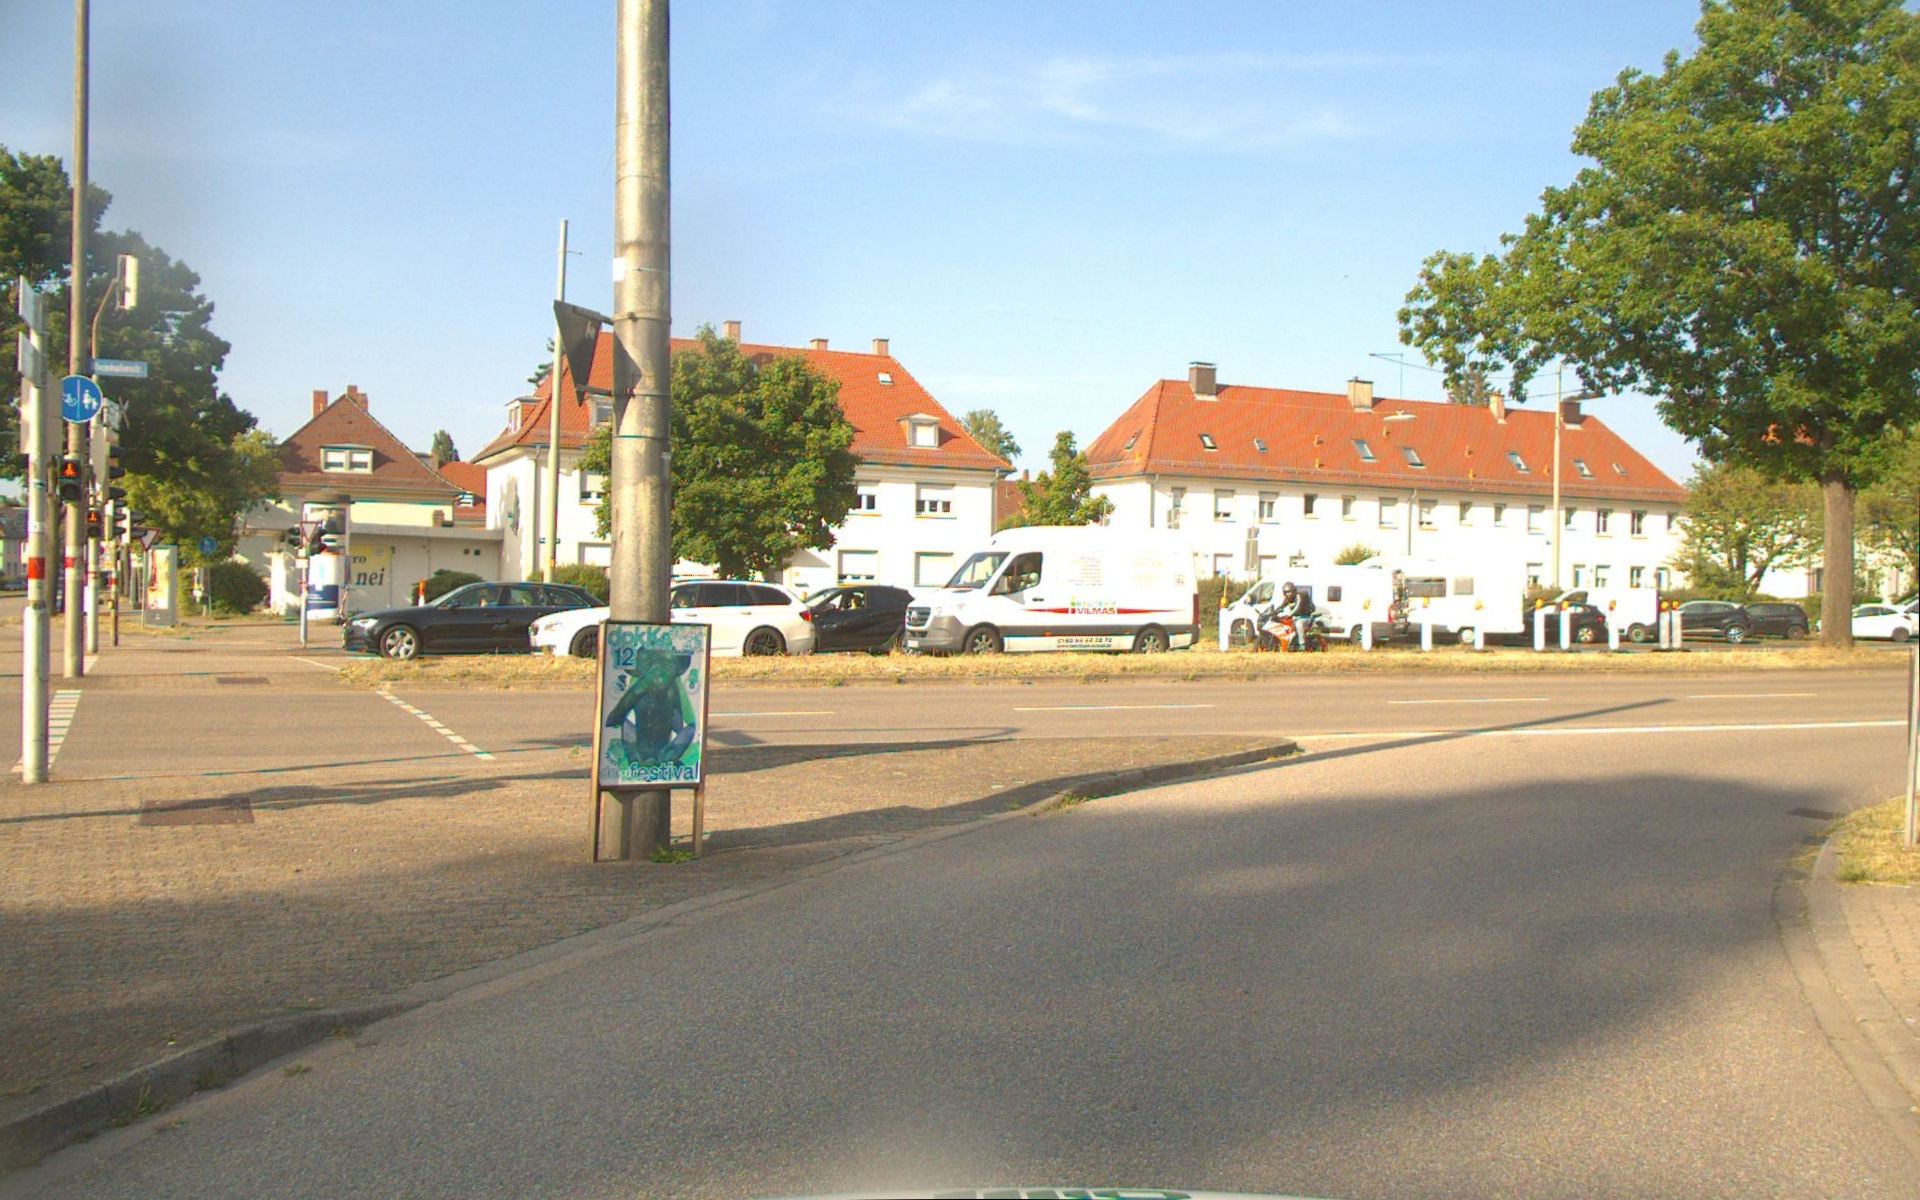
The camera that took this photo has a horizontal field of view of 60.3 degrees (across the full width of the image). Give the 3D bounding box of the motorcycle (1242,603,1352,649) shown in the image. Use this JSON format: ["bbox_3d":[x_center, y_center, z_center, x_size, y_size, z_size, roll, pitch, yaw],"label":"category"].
[{"bbox_3d":[6.787,0.520,33.270,2.245,0.882,0.684,1,0,-28],"label":"motorcycle"}]

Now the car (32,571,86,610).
[{"bbox_3d":[-35.803,-0.350,65.792,1.654,1.422,3.966,2,-1,-26],"label":"car"}]

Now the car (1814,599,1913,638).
[{"bbox_3d":[37.085,0.746,67.979,3.351,1.540,1.896,1,0,21],"label":"car"}]

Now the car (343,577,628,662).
[{"bbox_3d":[-8.584,0.342,30.031,4.765,1.436,1.701,1,0,-27],"label":"car"}]

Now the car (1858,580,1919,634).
[{"bbox_3d":[41.641,0.300,71.238,4.859,2.271,2.001,1,0,18],"label":"car"}]

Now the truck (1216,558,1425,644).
[{"bbox_3d":[11.701,-0.014,53.789,6.216,2.568,2.274,2,1,29],"label":"truck"}]

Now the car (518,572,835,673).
[{"bbox_3d":[-4.798,0.366,28.133,5.032,1.590,1.824,1,0,-27],"label":"car"}]

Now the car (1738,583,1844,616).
[{"bbox_3d":[45.120,-0.040,89.904,1.970,1.749,4.936,0,0,-27],"label":"car"}]

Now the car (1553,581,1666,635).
[{"bbox_3d":[24.405,0.282,62.241,3.814,1.953,1.897,1,0,17],"label":"car"}]

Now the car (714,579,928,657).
[{"bbox_3d":[-2.769,0.349,33.072,3.938,1.478,1.701,1,0,-27],"label":"car"}]

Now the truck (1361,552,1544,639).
[{"bbox_3d":[16.962,-0.169,57.105,5.931,2.904,1.897,1,0,17],"label":"truck"}]

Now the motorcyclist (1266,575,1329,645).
[{"bbox_3d":[6.789,0.201,33.264,1.053,1.375,0.674,1,0,-28],"label":"motorcyclist"}]

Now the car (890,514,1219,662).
[{"bbox_3d":[1.860,-0.193,31.649,6.134,2.629,1.983,1,0,-27],"label":"car"}]

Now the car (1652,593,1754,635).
[{"bbox_3d":[28.350,0.510,63.213,3.416,1.540,1.896,1,0,21],"label":"car"}]

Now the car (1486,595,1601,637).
[{"bbox_3d":[21.393,0.580,60.749,3.813,1.481,1.897,1,0,14],"label":"car"}]
